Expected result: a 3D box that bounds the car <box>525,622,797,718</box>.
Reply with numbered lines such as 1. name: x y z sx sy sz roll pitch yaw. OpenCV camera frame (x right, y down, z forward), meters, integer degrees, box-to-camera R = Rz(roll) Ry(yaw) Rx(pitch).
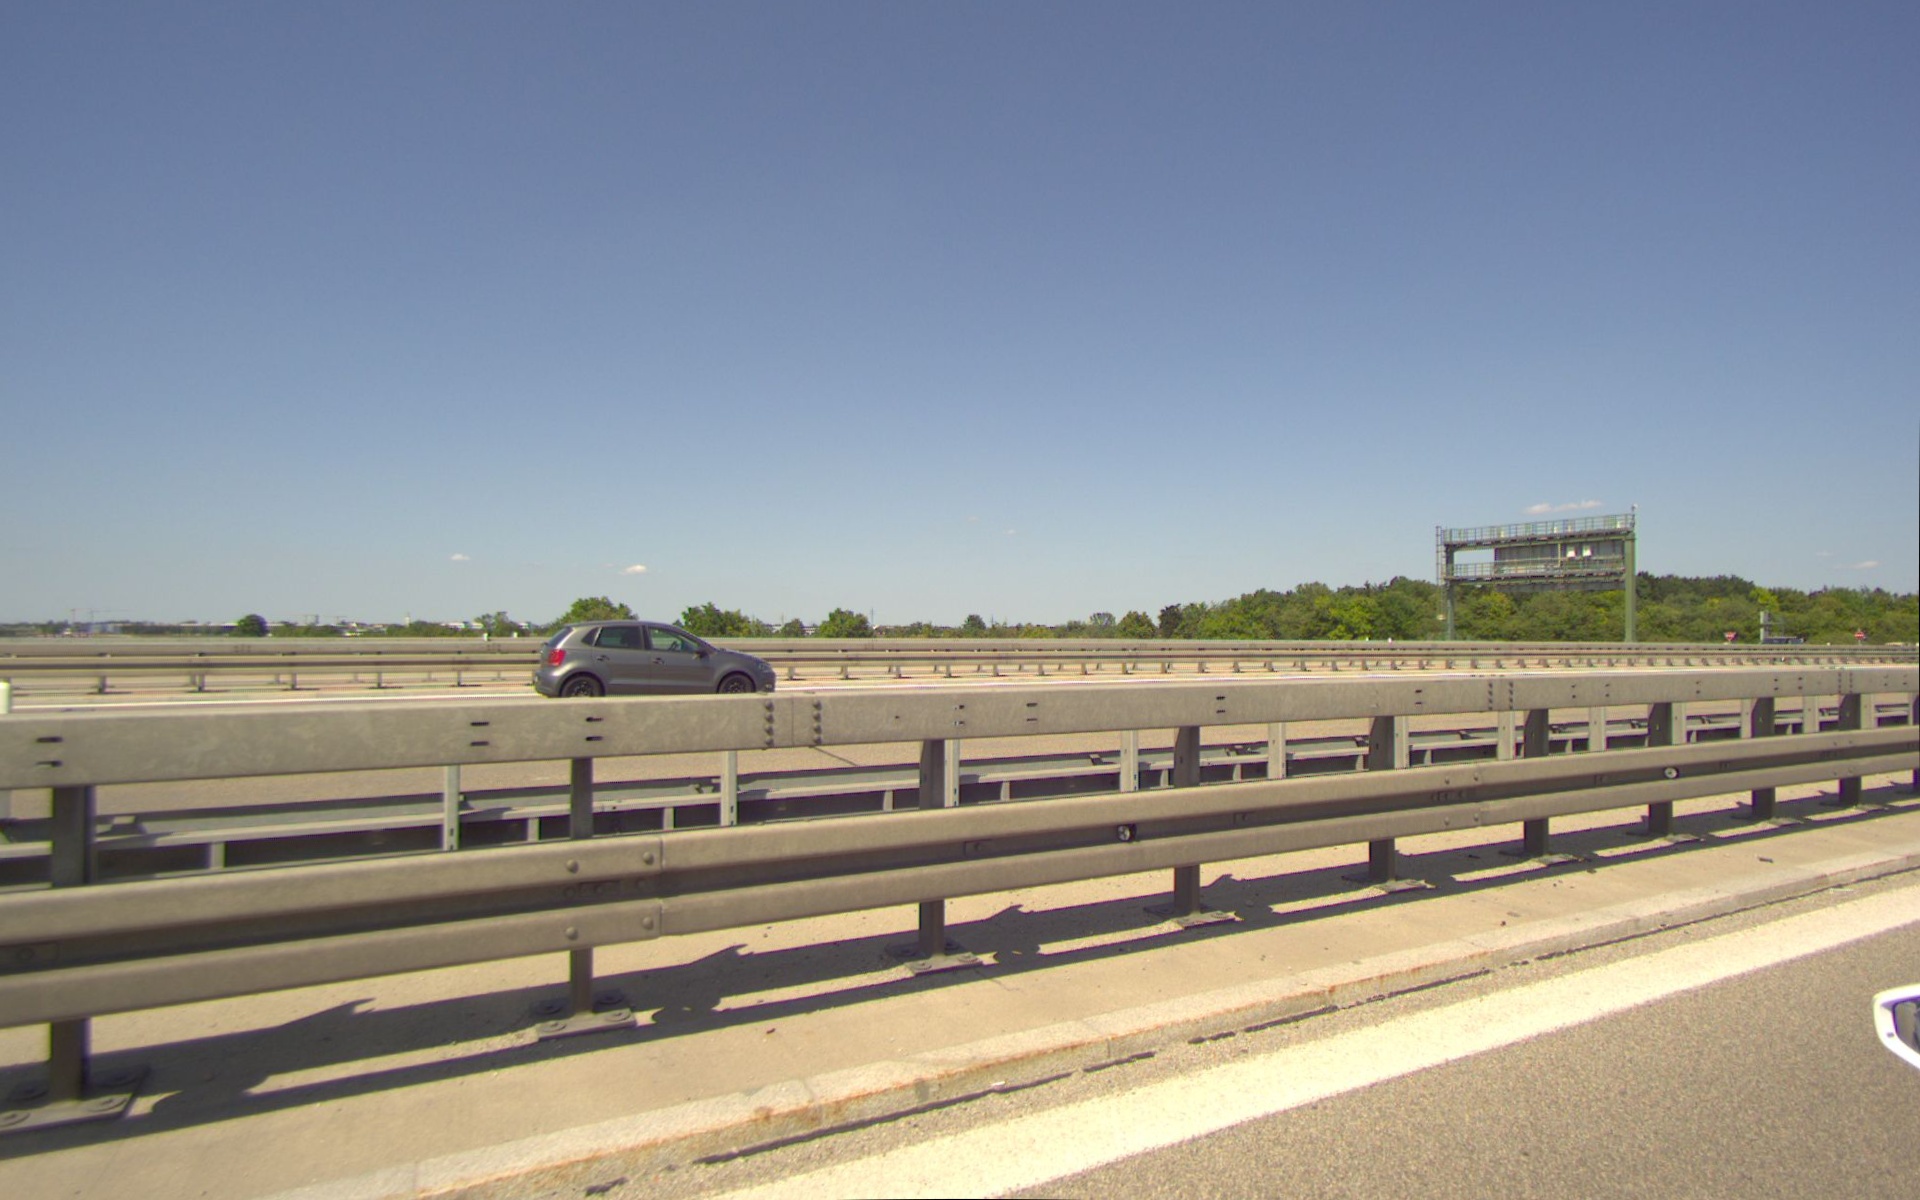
1. car: -5.046 1.120 17.056 4.163 1.441 1.756 1 -1 -28
